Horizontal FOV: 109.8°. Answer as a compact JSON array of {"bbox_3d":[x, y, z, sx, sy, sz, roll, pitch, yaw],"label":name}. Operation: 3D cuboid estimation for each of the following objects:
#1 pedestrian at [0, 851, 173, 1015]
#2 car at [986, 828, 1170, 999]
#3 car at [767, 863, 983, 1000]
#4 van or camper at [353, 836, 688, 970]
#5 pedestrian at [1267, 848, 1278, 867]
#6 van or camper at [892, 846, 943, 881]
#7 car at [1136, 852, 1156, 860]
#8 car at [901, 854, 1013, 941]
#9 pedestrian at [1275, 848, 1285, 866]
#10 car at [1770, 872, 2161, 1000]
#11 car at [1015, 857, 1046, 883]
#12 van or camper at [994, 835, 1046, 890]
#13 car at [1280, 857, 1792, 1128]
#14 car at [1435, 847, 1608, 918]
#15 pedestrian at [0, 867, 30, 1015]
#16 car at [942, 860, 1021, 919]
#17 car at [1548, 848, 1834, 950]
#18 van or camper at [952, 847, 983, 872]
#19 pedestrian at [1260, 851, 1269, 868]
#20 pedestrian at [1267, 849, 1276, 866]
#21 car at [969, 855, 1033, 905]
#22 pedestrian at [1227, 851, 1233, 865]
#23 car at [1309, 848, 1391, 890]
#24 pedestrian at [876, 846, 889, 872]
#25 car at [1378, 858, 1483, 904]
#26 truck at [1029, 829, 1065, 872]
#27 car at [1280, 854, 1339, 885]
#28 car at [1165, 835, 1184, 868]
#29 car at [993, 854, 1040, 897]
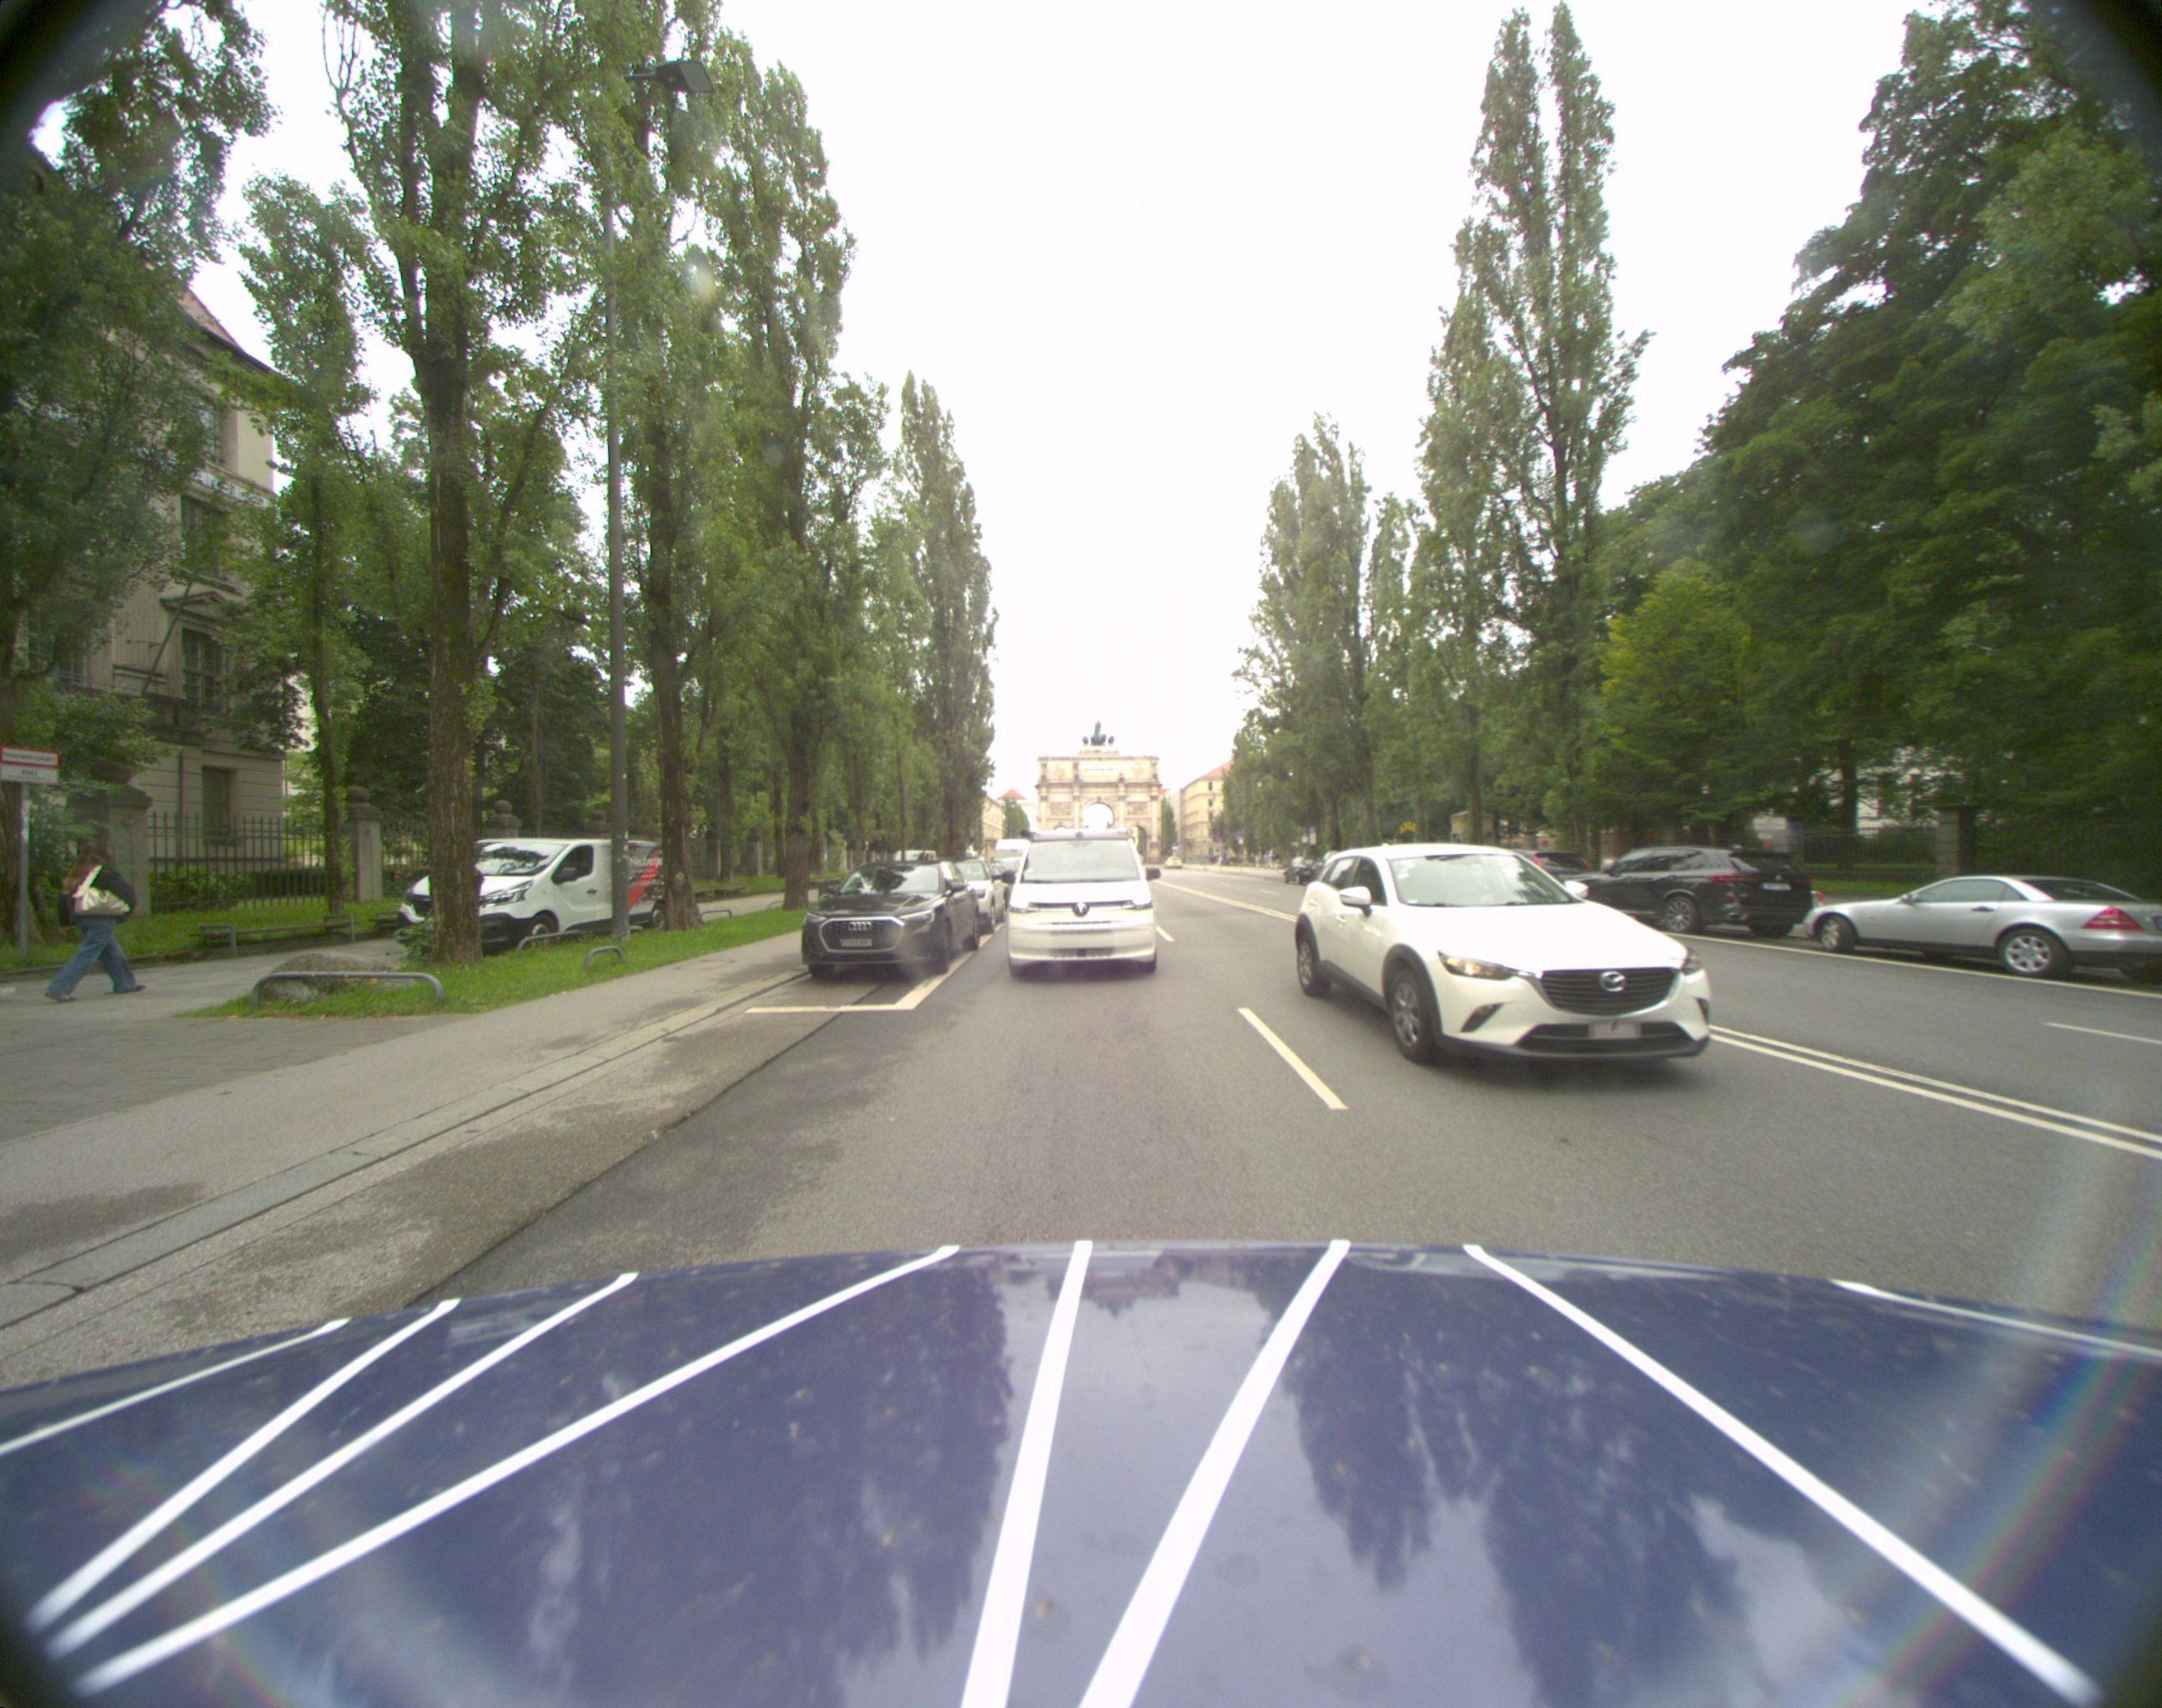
[{"bbox_3d":[-10.925,0.822,8.341,0.855,1.707,0.867,1,1,-1],"label":"pedestrian"},{"bbox_3d":[-0.012,0.680,11.610,2.064,1.916,5.728,-1,0,0],"label":"car"},{"bbox_3d":[-2.693,0.935,11.089,1.885,1.531,4.464,-1,0,0],"label":"car"},{"bbox_3d":[-9.678,0.730,13.926,2.081,1.922,5.368,-2,0,0],"label":"van or camper"},{"bbox_3d":[18.873,0.316,74.926,0.711,1.823,1.092,-1,1,-1],"label":"pedestrian"},{"bbox_3d":[-9.756,0.560,45.817,1.980,1.922,5.037,-2,0,-1],"label":"van or camper"},{"bbox_3d":[14.074,0.517,163.813,2.004,1.739,3.989,-1,0,-40],"label":"car"},{"bbox_3d":[-2.615,0.854,17.021,1.747,1.665,4.579,-1,0,0],"label":"car"},{"bbox_3d":[19.623,0.294,74.953,0.711,1.762,1.092,0,1,-1],"label":"pedestrian"},{"bbox_3d":[12.557,0.991,10.686,1.831,1.326,4.233,2,0,-1],"label":"car"},{"bbox_3d":[-2.955,0.938,45.430,1.680,1.412,3.999,-1,0,-2],"label":"car"},{"bbox_3d":[-3.023,0.389,38.914,2.144,2.525,6.416,-1,0,0],"label":"van or camper"},{"bbox_3d":[3.107,0.801,6.320,1.910,1.516,4.009,-1,0,1],"label":"car"},{"bbox_3d":[12.512,0.728,22.072,1.914,1.779,5.179,2,0,-1],"label":"car"},{"bbox_3d":[-11.725,0.926,7.819,0.569,1.569,0.867,0,1,0],"label":"pedestrian"},{"bbox_3d":[-2.756,0.938,21.953,1.707,1.511,4.295,-1,0,0],"label":"car"},{"bbox_3d":[12.376,0.799,15.993,1.946,1.757,4.894,2,0,-2],"label":"car"},{"bbox_3d":[-9.706,0.469,65.302,2.009,2.002,4.985,-2,0,-2],"label":"van or camper"},{"bbox_3d":[18.644,0.564,77.349,0.689,1.690,0.885,-1,0,-1],"label":"pedestrian"},{"bbox_3d":[19.361,0.363,77.286,0.661,1.706,0.911,-1,0,-1],"label":"pedestrian"},{"bbox_3d":[-2.734,0.854,26.849,1.788,1.608,4.637,-1,0,0],"label":"car"},{"bbox_3d":[17.859,0.484,91.243,0.533,1.720,0.583,-1,0,-11],"label":"pedestrian"},{"bbox_3d":[12.471,0.660,35.624,2.051,1.776,4.799,2,0,0],"label":"car"},{"bbox_3d":[-15.574,0.414,59.582,0.905,2.002,0.956,0,1,-16],"label":"pedestrian"},{"bbox_3d":[12.329,0.893,27.091,1.708,1.450,4.272,1,0,-1],"label":"car"},{"bbox_3d":[-2.961,-0.281,68.642,2.852,3.543,10.277,-1,0,-1],"label":"truck"},{"bbox_3d":[12.521,0.788,41.956,1.949,1.574,4.388,1,0,0],"label":"car"},{"bbox_3d":[11.440,-0.314,93.388,1.798,1.334,4.448,13,38,-7],"label":"car"},{"bbox_3d":[-2.650,0.852,32.094,1.789,1.639,4.417,-1,0,-2],"label":"car"}]
